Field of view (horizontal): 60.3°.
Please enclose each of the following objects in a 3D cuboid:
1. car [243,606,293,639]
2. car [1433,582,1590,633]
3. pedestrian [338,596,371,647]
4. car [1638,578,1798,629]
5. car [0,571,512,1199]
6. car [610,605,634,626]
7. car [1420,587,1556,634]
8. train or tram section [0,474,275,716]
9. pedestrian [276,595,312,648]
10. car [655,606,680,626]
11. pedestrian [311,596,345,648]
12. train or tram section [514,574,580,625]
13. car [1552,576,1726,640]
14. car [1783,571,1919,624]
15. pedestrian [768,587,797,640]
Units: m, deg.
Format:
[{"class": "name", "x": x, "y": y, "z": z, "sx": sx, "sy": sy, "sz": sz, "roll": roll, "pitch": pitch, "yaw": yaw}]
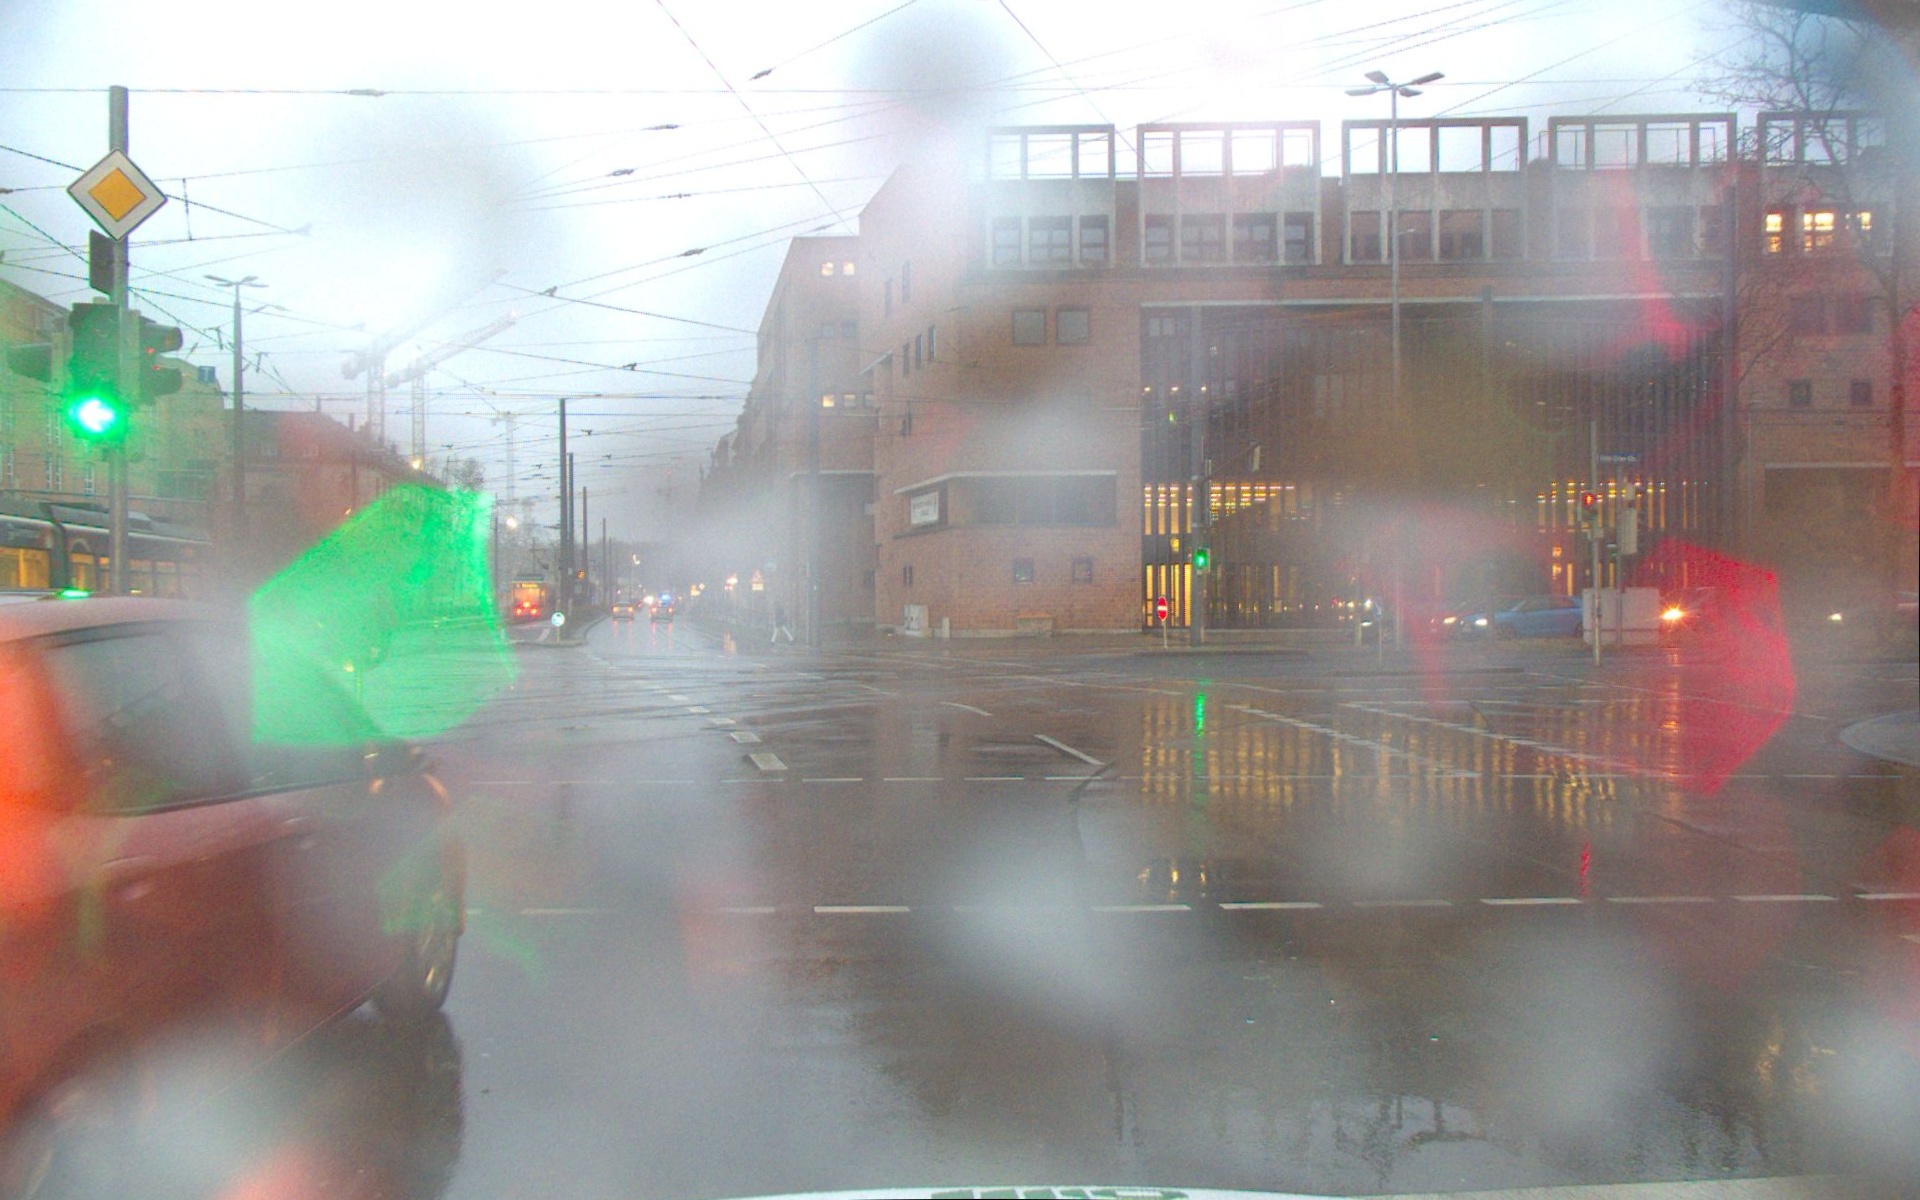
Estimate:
[{"class": "car", "x": -35.610, "y": 1.152, "z": 85.221, "sx": 1.756, "sy": 1.652, "sz": 3.852, "roll": 0, "pitch": 0, "yaw": -14}, {"class": "car", "x": 15.982, "y": 0.203, "z": 48.050, "sx": 3.910, "sy": 1.284, "sz": 1.846, "roll": -1, "pitch": 4, "yaw": -7}, {"class": "pedestrian", "x": -24.439, "y": 0.873, "z": 66.759, "sx": 0.959, "sy": 2.049, "sz": 0.835, "roll": 0, "pitch": 0, "yaw": 14}, {"class": "car", "x": 22.353, "y": 0.082, "z": 48.854, "sx": 3.910, "sy": 1.310, "sz": 1.846, "roll": -1, "pitch": 4, "yaw": -7}, {"class": "car", "x": -2.569, "y": 0.701, "z": 4.539, "sx": 1.663, "sy": 1.485, "sz": 3.757, "roll": -1, "pitch": 0, "yaw": 0}, {"class": "car", "x": -28.540, "y": 1.307, "z": 139.634, "sx": 1.837, "sy": 1.606, "sz": 3.990, "roll": 2, "pitch": 0, "yaw": -10}, {"class": "car", "x": 16.608, "y": 0.310, "z": 52.146, "sx": 3.649, "sy": 1.284, "sz": 1.846, "roll": -1, "pitch": 4, "yaw": -7}, {"class": "train or tram section", "x": -16.809, "y": -0.053, "z": 30.728, "sx": 2.811, "sy": 3.677, "sz": 19.177, "roll": -1, "pitch": 0, "yaw": -8}, {"class": "pedestrian", "x": -25.824, "y": 0.830, "z": 64.122, "sx": 0.959, "sy": 2.049, "sz": 0.835, "roll": 0, "pitch": 0, "yaw": 14}, {"class": "car", "x": -24.010, "y": 1.302, "z": 135.743, "sx": 1.836, "sy": 1.606, "sz": 3.992, "roll": 2, "pitch": 0, "yaw": -9}, {"class": "pedestrian", "x": -25.021, "y": 0.852, "z": 65.481, "sx": 0.959, "sy": 2.049, "sz": 0.835, "roll": 0, "pitch": 0, "yaw": 14}, {"class": "train or tram section", "x": -31.955, "y": -0.047, "z": 129.046, "sx": 3.133, "sy": 3.496, "sz": 27.760, "roll": -1, "pitch": 0, "yaw": -10}, {"class": "car", "x": 18.234, "y": 0.200, "z": 44.505, "sx": 3.910, "sy": 1.530, "sz": 1.846, "roll": -1, "pitch": 4, "yaw": -7}, {"class": "car", "x": 29.337, "y": -0.098, "z": 54.128, "sx": 3.910, "sy": 1.530, "sz": 1.846, "roll": -1, "pitch": 4, "yaw": -7}, {"class": "pedestrian", "x": -7.032, "y": 0.533, "z": 65.640, "sx": 1.050, "sy": 2.049, "sz": 0.683, "roll": -1, "pitch": 0, "yaw": -14}]
